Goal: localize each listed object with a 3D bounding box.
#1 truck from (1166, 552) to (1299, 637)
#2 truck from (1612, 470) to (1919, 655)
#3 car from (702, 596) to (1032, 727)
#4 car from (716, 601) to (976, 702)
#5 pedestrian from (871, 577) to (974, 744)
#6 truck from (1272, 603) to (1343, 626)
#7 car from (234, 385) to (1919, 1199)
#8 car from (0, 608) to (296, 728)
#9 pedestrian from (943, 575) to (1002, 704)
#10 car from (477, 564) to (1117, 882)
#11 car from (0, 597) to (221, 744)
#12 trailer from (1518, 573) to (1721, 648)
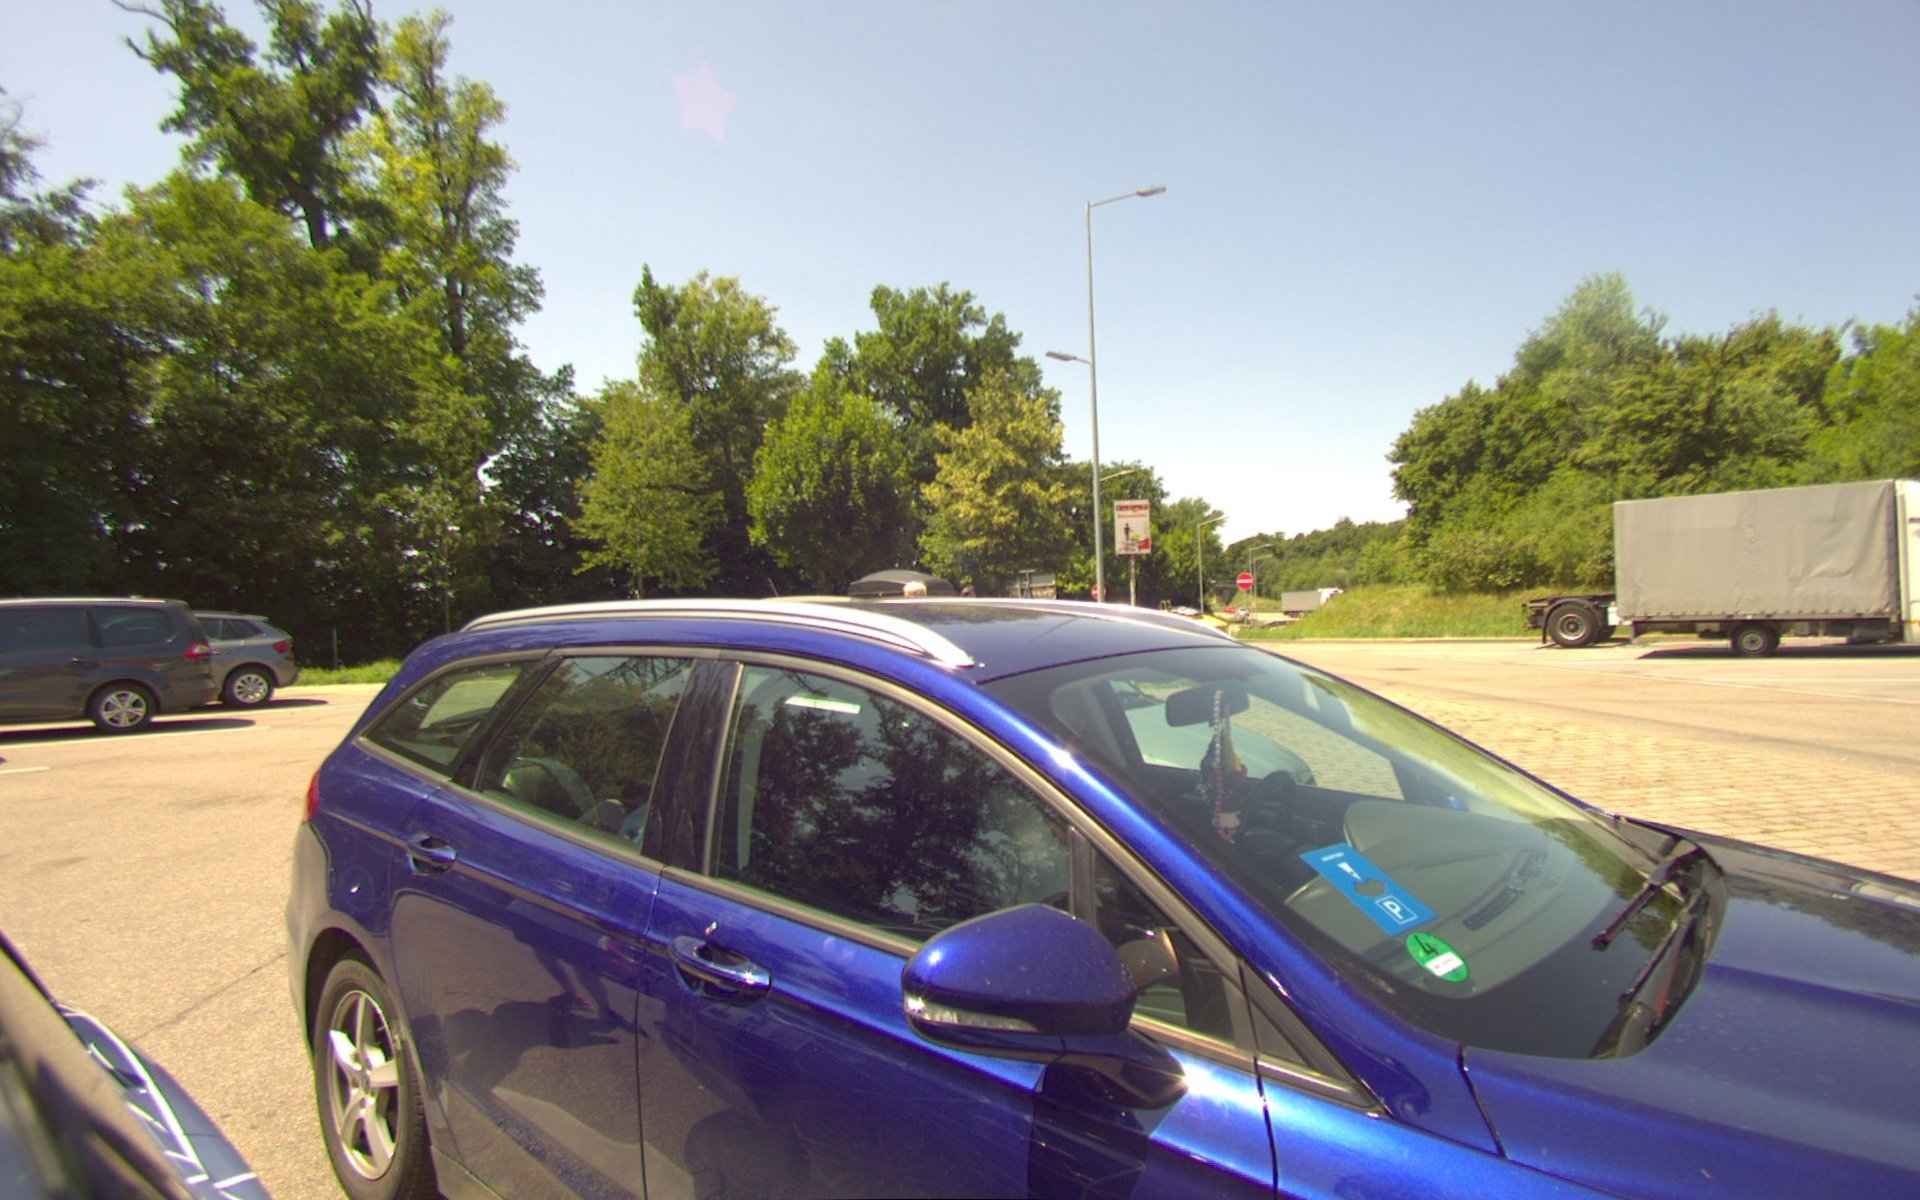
[{"bbox_3d":[12.811,-0.212,47.601,5.782,3.720,1.987,-2,-1,20],"label":"truck"},{"bbox_3d":[16.672,-0.631,18.762,7.348,3.152,2.339,-3,-2,41],"label":"truck"},{"bbox_3d":[-1.371,0.762,13.525,4.466,1.476,1.756,-3,-1,40],"label":"car"},{"bbox_3d":[-2.023,0.834,17.078,4.466,1.476,1.756,-3,-1,40],"label":"car"},{"bbox_3d":[-0.383,0.596,10.302,0.759,1.614,0.663,-3,-1,41],"label":"pedestrian"},{"bbox_3d":[49.209,2.091,144.076,2.512,2.944,16.279,-1,-1,-7],"label":"truck"},{"bbox_3d":[0.230,0.633,2.094,4.466,1.476,1.756,-3,-1,40],"label":"car"},{"bbox_3d":[-12.722,0.975,15.600,3.910,1.598,1.782,-1,-1,-43],"label":"car"},{"bbox_3d":[0.154,0.519,13.526,0.706,1.662,0.648,-2,-1,-2],"label":"pedestrian"},{"bbox_3d":[-1.344,0.639,6.819,4.466,1.476,1.756,-3,-1,40],"label":"car"},{"bbox_3d":[-11.693,0.849,12.549,3.910,1.701,1.782,-1,-1,-43],"label":"car"},{"bbox_3d":[15.776,0.286,24.323,3.900,1.674,1.456,-2,-1,41],"label":"trailer"}]
